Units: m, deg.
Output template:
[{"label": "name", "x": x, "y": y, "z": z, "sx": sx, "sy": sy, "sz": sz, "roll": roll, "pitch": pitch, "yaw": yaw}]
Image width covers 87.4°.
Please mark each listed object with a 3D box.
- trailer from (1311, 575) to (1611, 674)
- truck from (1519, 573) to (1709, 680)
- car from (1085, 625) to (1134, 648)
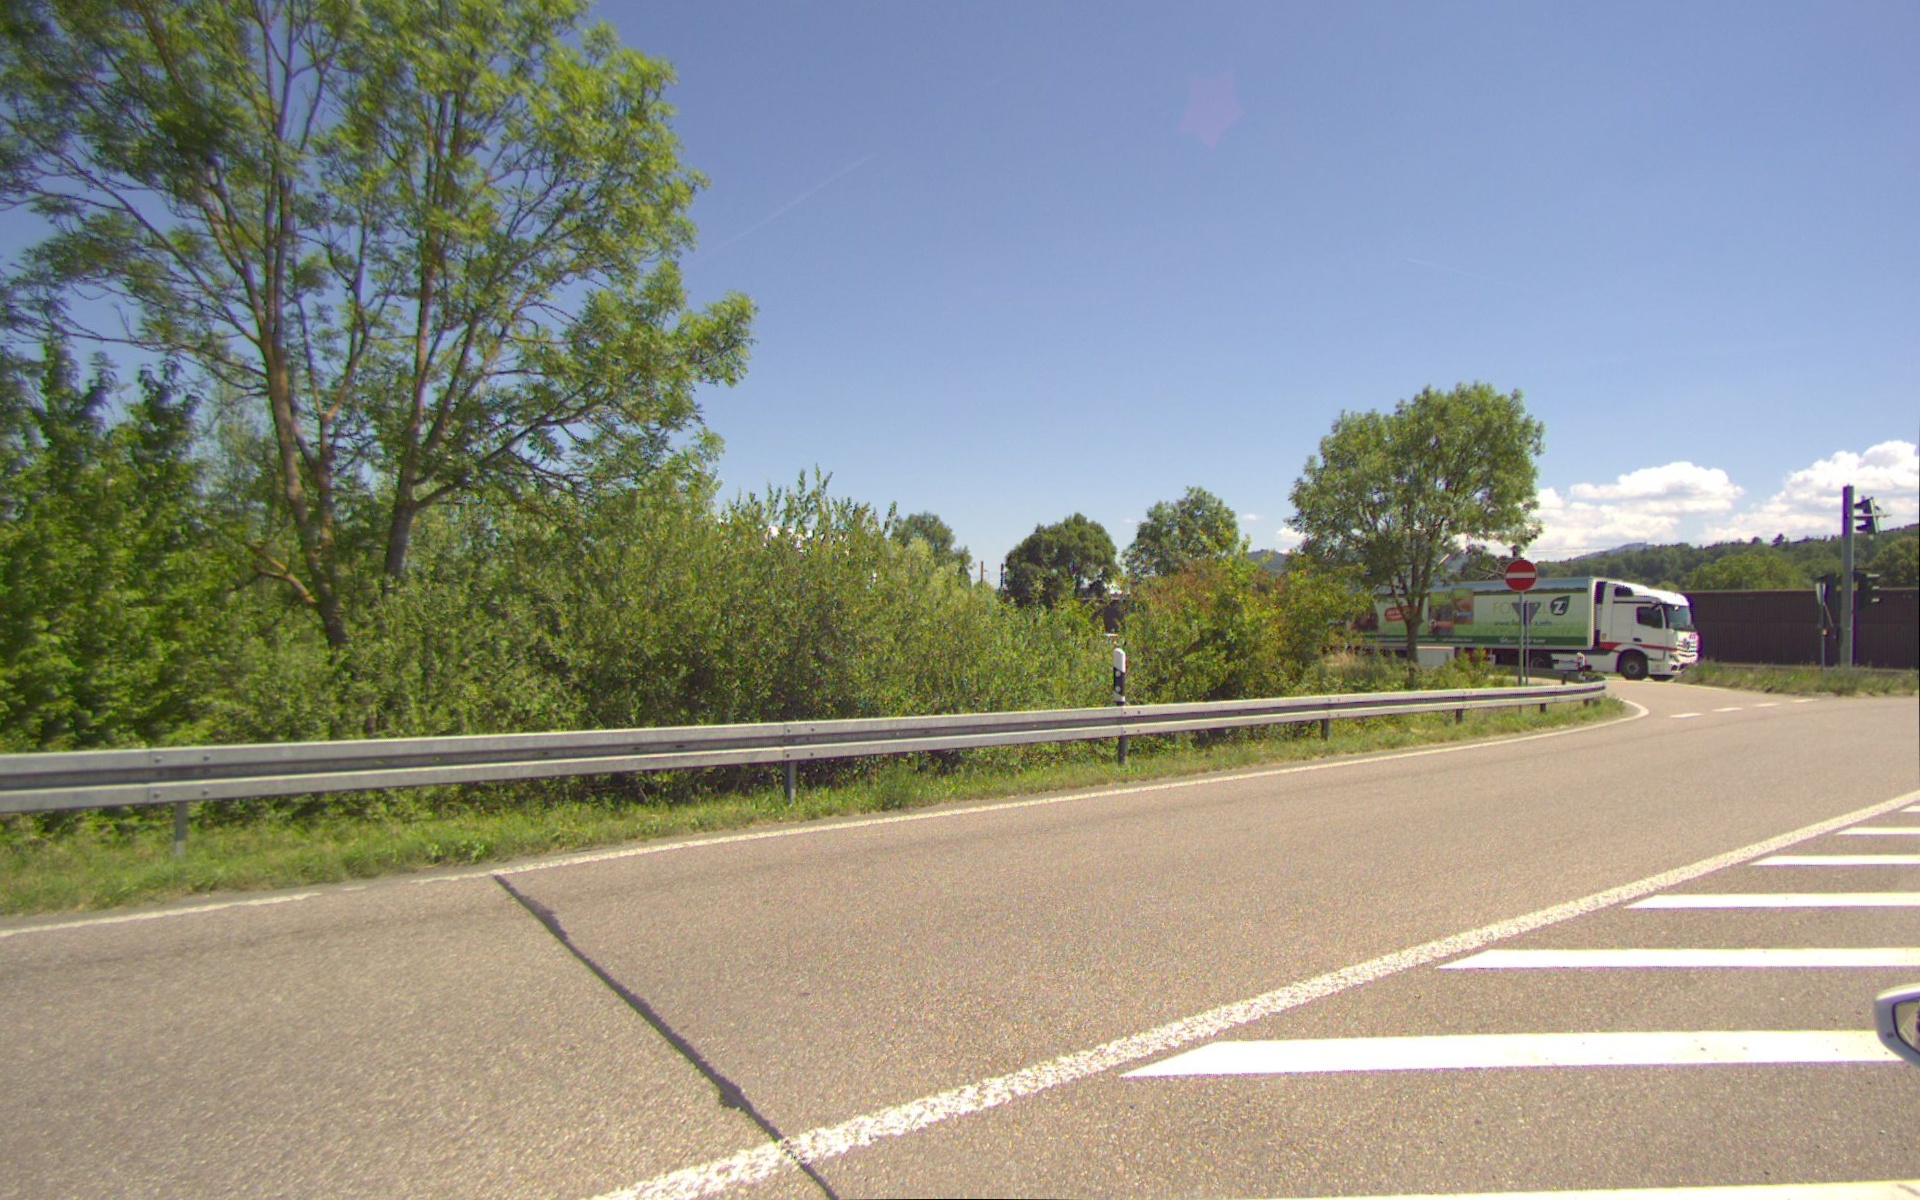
[{"label": "trailer", "x": 22.823, "y": 1.054, "z": 47.208, "sx": 3.027, "sy": 4.007, "sz": 13.074, "roll": 2, "pitch": -1, "yaw": -31}, {"label": "truck", "x": 26.519, "y": 1.047, "z": 40.975, "sx": 3.027, "sy": 4.007, "sz": 5.736, "roll": 2, "pitch": -1, "yaw": -31}, {"label": "car", "x": 10.360, "y": 2.531, "z": 69.691, "sx": 1.537, "sy": 1.484, "sz": 3.455, "roll": 2, "pitch": -1, "yaw": -31}]
